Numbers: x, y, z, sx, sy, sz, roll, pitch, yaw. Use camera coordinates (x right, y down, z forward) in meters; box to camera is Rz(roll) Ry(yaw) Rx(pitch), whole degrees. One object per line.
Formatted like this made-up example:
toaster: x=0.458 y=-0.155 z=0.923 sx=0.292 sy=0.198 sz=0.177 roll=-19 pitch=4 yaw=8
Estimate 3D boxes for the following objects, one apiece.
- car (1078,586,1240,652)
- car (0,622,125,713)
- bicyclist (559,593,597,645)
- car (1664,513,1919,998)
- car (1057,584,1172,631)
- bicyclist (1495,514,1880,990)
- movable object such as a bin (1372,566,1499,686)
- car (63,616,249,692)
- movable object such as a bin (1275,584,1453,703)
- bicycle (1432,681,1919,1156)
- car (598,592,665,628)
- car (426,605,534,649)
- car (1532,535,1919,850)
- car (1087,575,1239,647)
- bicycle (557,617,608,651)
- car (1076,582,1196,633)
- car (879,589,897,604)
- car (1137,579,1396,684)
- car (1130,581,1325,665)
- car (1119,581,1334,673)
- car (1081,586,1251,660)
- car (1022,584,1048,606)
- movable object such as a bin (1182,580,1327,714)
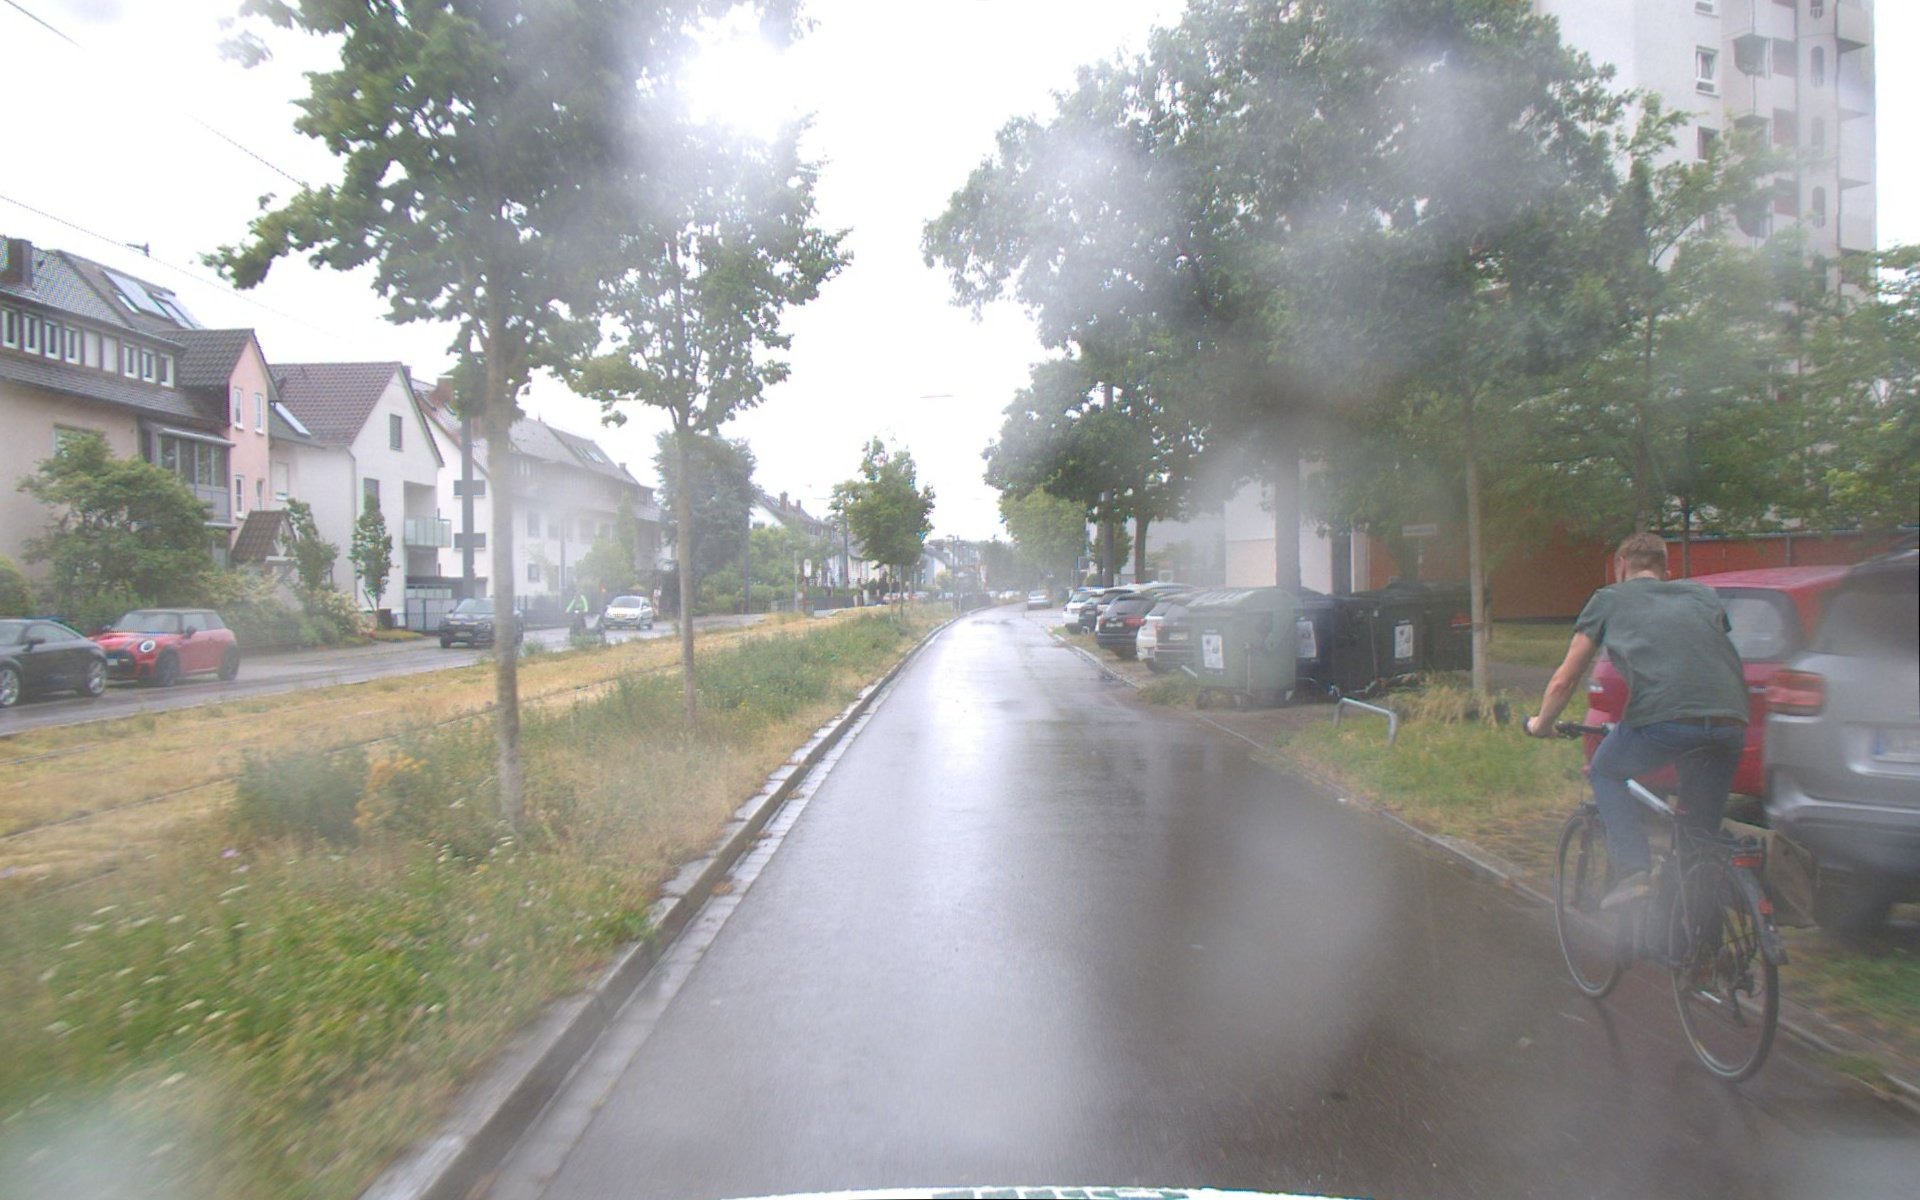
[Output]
car: x=4.908 y=0.449 z=40.580 sx=3.998 sy=1.468 sz=1.564 roll=-2 pitch=0 yaw=-37
car: x=-15.278 y=1.049 z=26.586 sx=1.629 sy=1.266 sz=4.071 roll=1 pitch=0 yaw=0
bicyclist: x=-12.920 y=0.624 z=55.982 sx=0.997 sy=1.715 sz=1.092 roll=-1 pitch=0 yaw=0
car: x=5.199 y=0.446 z=7.141 sx=4.097 sy=1.748 sz=1.978 roll=-5 pitch=2 yaw=-33
car: x=5.429 y=0.246 z=57.850 sx=3.998 sy=1.539 sz=1.564 roll=-2 pitch=0 yaw=-37
bicyclist: x=2.448 y=0.469 z=5.702 sx=0.793 sy=1.458 sz=1.059 roll=-2 pitch=0 yaw=-3
movable object such as a bin: x=6.476 y=0.343 z=22.566 sx=1.229 sy=1.546 sz=1.079 roll=-2 pitch=0 yaw=-28
car: x=-15.330 y=0.988 z=31.771 sx=1.640 sy=1.266 sz=3.855 roll=1 pitch=0 yaw=1
movable object such as a bin: x=5.099 y=0.524 z=20.950 sx=1.658 sy=1.349 sz=1.392 roll=-4 pitch=1 yaw=-21
bicycle: x=2.464 y=0.923 z=5.746 sx=0.793 sy=1.116 sz=2.516 roll=-2 pitch=0 yaw=-3
car: x=-14.694 y=0.434 z=74.205 sx=1.857 sy=1.495 sz=4.689 roll=1 pitch=0 yaw=3
car: x=-15.156 y=0.820 z=52.496 sx=1.857 sy=1.266 sz=4.689 roll=1 pitch=0 yaw=3
car: x=5.584 y=0.433 z=10.650 sx=3.846 sy=1.594 sz=1.710 roll=-4 pitch=2 yaw=-37
car: x=5.338 y=0.266 z=43.296 sx=3.998 sy=1.733 sz=1.564 roll=-2 pitch=0 yaw=-37
bicycle: x=-12.894 y=1.140 z=56.573 sx=0.997 sy=1.045 sz=3.196 roll=-1 pitch=0 yaw=0
car: x=5.871 y=0.245 z=54.965 sx=3.998 sy=1.567 sz=1.564 roll=-2 pitch=0 yaw=-37
car: x=-8.421 y=-0.376 z=193.635 sx=1.805 sy=1.701 sz=4.000 roll=-1 pitch=0 yaw=0
car: x=5.143 y=0.480 z=27.570 sx=4.178 sy=1.545 sz=1.855 roll=-2 pitch=0 yaw=-35
car: x=5.523 y=0.439 z=33.939 sx=3.994 sy=1.545 sz=1.566 roll=-2 pitch=0 yaw=-35
car: x=4.999 y=0.462 z=30.798 sx=3.994 sy=1.545 sz=1.566 roll=-2 pitch=0 yaw=-35
car: x=4.589 y=0.475 z=36.429 sx=4.010 sy=1.468 sz=1.560 roll=-2 pitch=1 yaw=-44
car: x=5.812 y=-0.407 z=127.934 sx=1.795 sy=1.614 sz=4.000 roll=-1 pitch=0 yaw=0
movable object such as a bin: x=3.653 y=0.563 z=20.628 sx=1.110 sy=1.482 sz=1.392 roll=-7 pitch=2 yaw=-21
